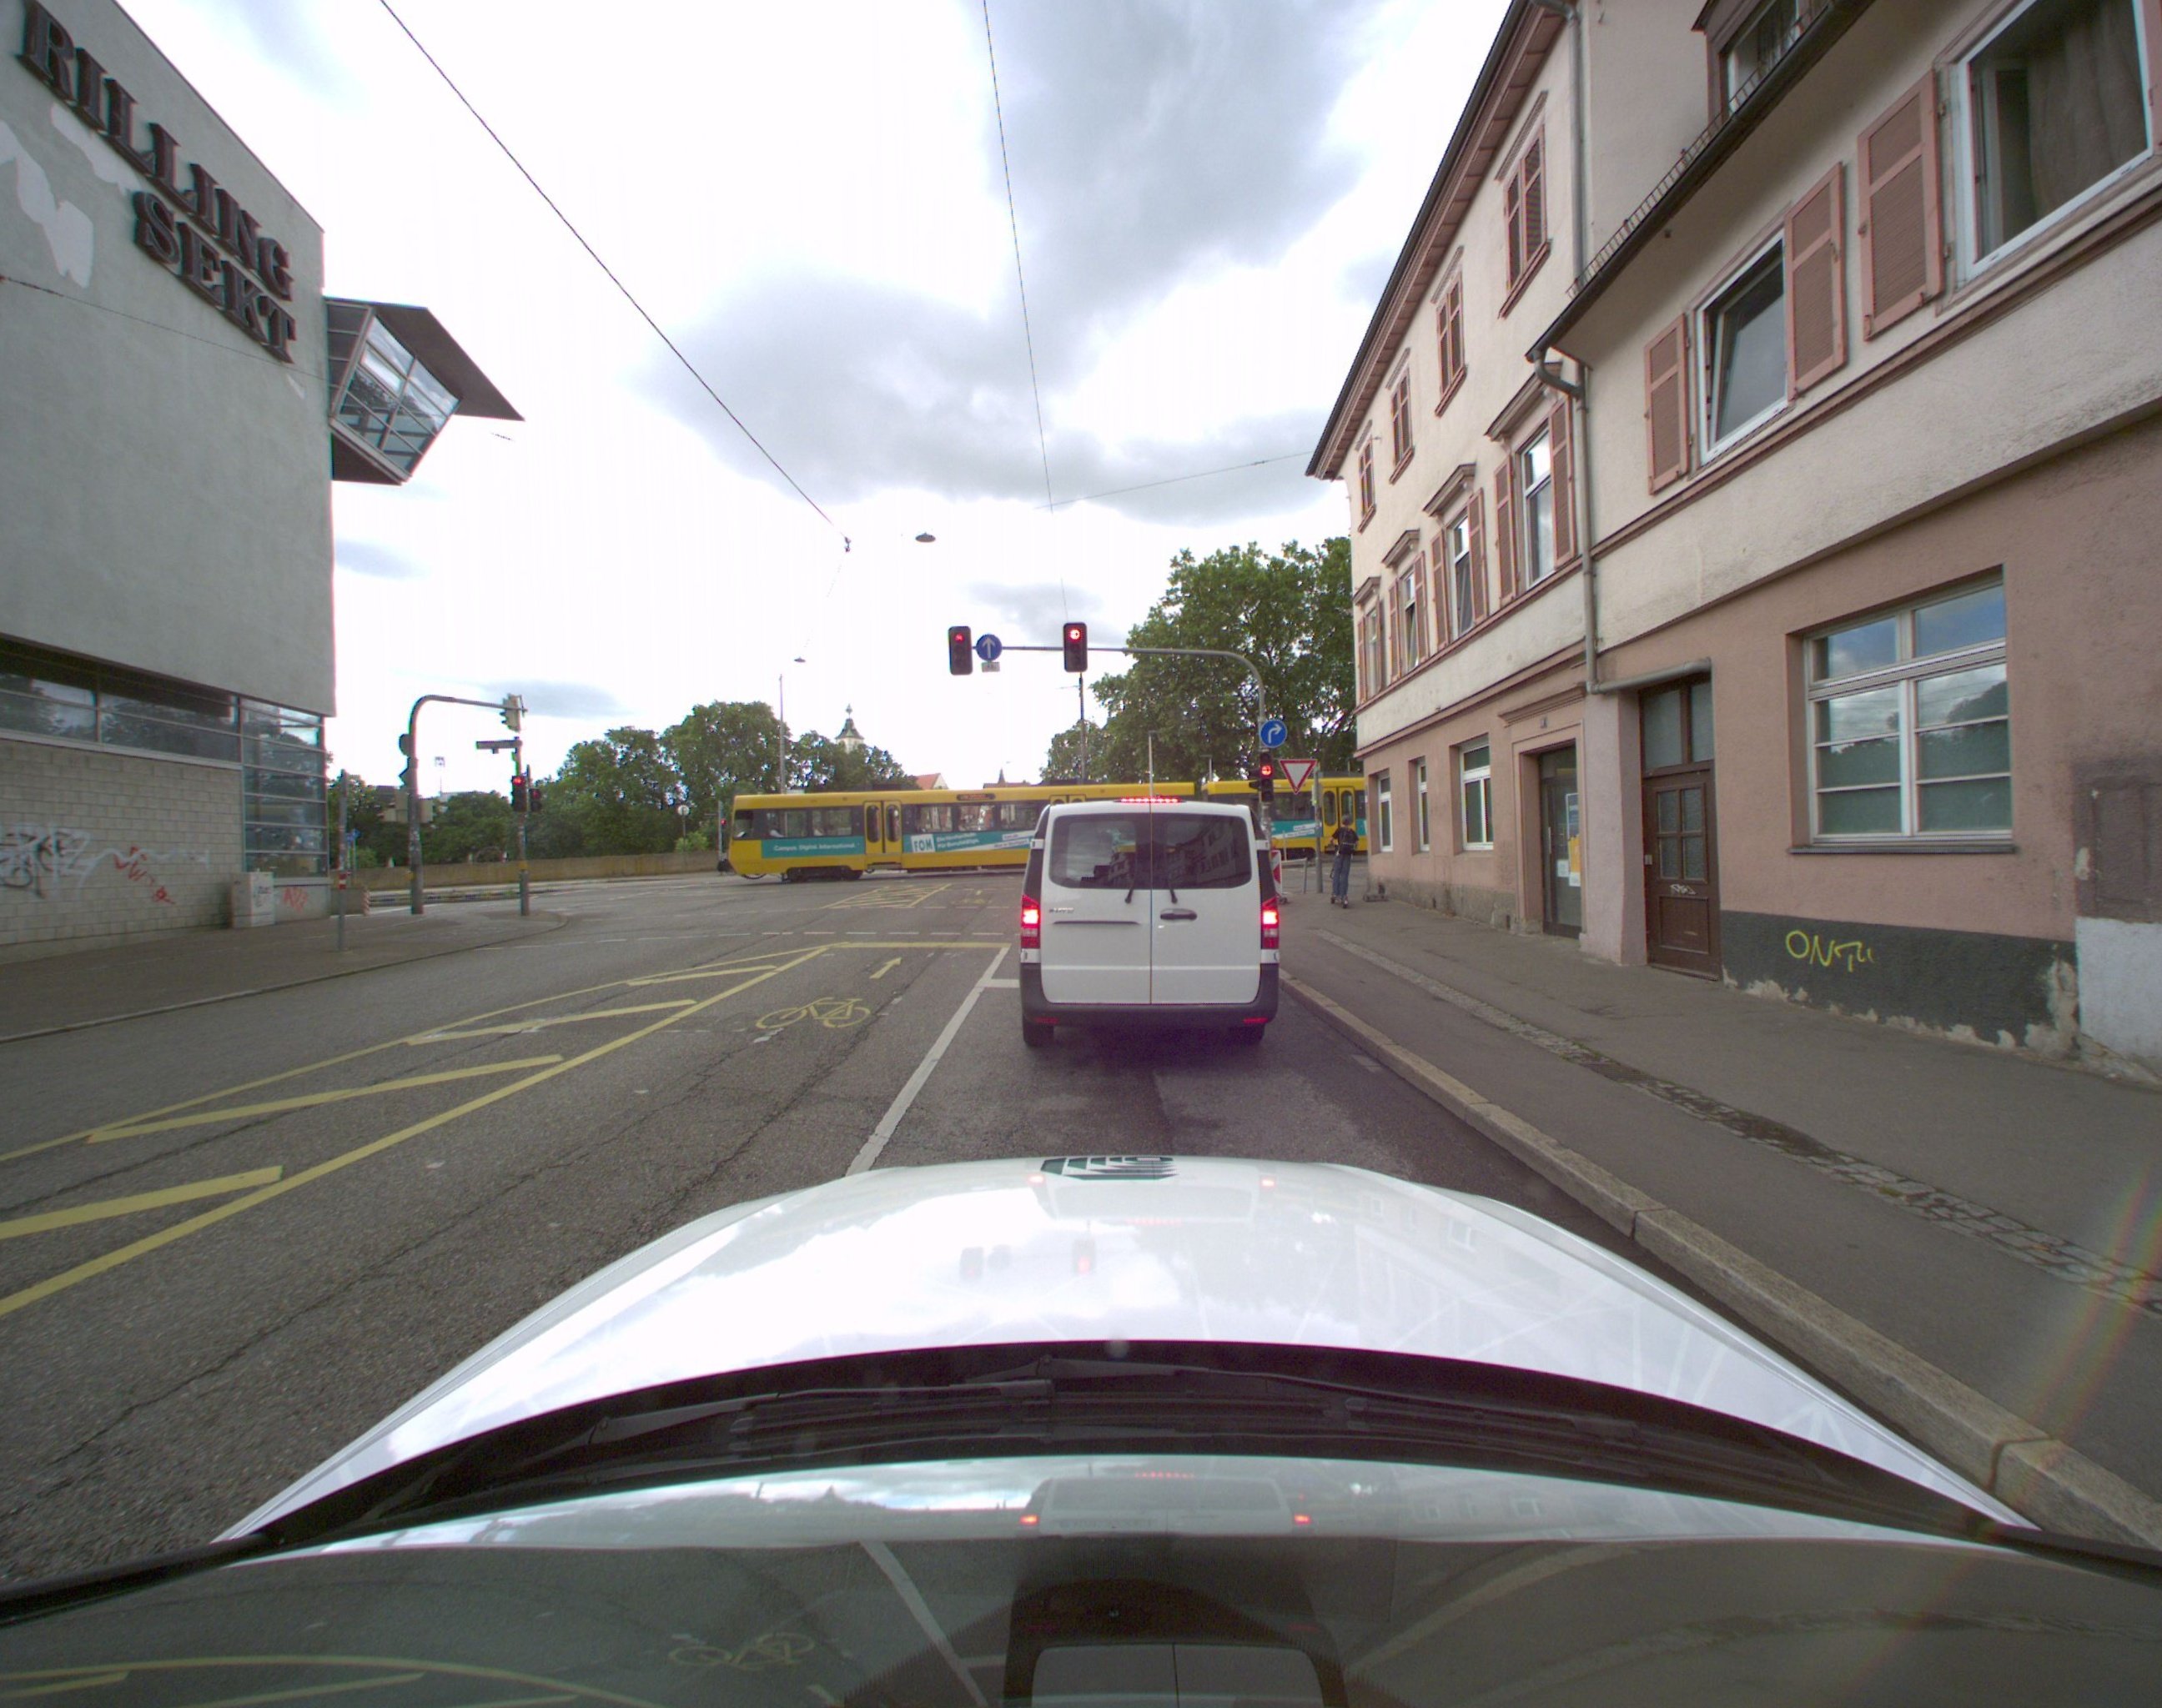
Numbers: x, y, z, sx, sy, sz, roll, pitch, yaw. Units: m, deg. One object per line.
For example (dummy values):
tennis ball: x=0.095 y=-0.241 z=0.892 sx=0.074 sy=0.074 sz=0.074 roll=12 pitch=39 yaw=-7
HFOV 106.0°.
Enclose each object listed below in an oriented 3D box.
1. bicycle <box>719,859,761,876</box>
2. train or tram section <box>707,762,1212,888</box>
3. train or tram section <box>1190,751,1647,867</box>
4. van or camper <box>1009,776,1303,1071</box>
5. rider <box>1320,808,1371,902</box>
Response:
bicycle: x=-18.149 y=0.711 z=43.413 sx=1.962 sy=0.866 sz=0.553 roll=-2 pitch=0 yaw=-42
train or tram section: x=-4.491 y=-1.263 z=33.177 sx=19.203 sy=4.002 sz=3.302 roll=-3 pitch=2 yaw=-7
train or tram section: x=14.311 y=-1.971 z=35.057 sx=18.737 sy=4.002 sz=3.261 roll=-3 pitch=2 yaw=-5
van or camper: x=0.488 y=0.431 z=7.586 sx=1.932 sy=1.924 sz=4.440 roll=0 pitch=1 yaw=-1
rider: x=5.411 y=0.021 z=16.708 sx=0.716 sy=1.847 sz=0.797 roll=-2 pitch=0 yaw=-2
